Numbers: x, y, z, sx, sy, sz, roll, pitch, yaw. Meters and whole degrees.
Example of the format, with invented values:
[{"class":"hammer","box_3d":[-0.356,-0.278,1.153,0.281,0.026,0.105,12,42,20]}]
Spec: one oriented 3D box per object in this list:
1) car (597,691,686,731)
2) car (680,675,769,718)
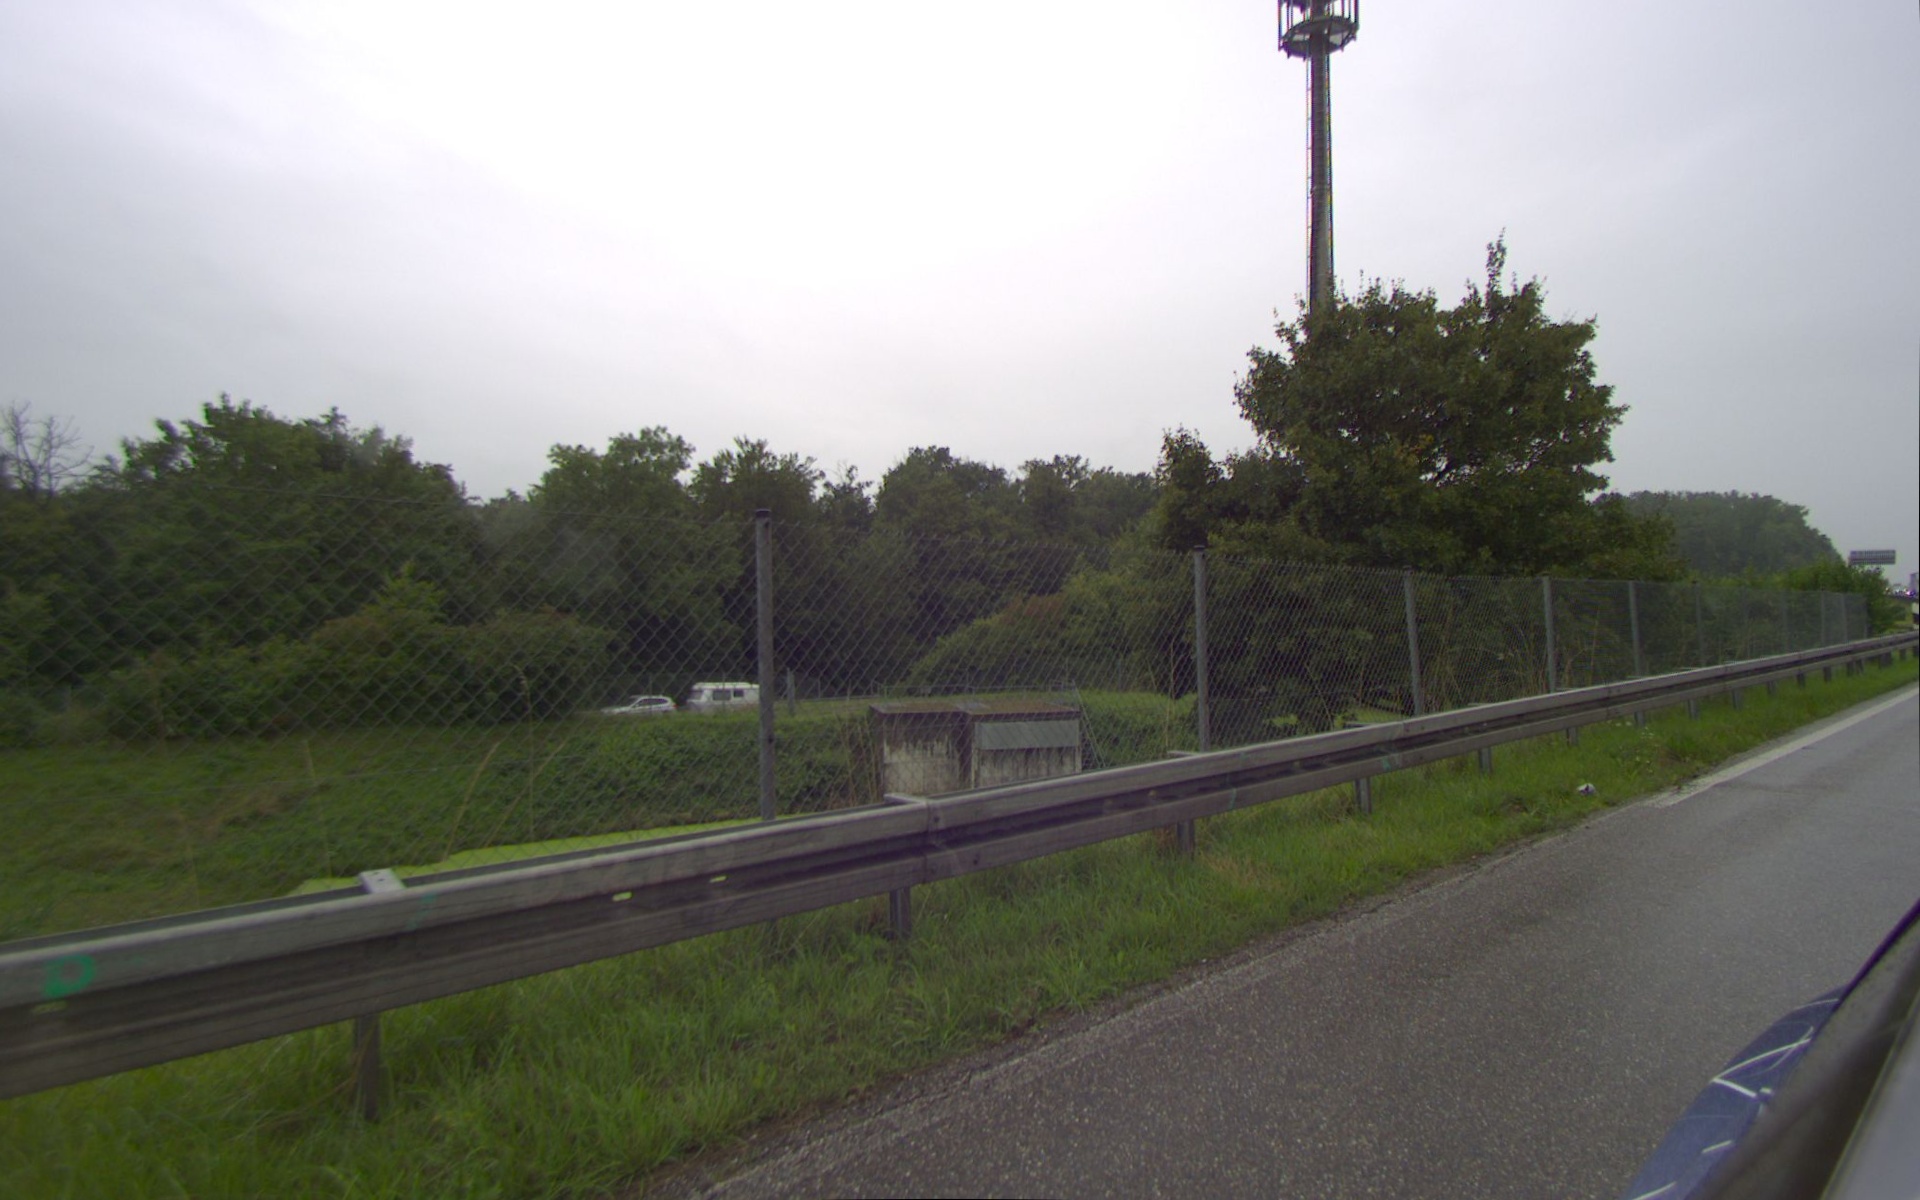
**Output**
[{"class":"car","box_3d":[-17.548,6.098,55.857,1.930,1.650,4.241,-6,-2,44]},{"class":"car","box_3d":[-13.850,5.640,59.646,1.993,2.039,4.650,-6,-2,44]}]
